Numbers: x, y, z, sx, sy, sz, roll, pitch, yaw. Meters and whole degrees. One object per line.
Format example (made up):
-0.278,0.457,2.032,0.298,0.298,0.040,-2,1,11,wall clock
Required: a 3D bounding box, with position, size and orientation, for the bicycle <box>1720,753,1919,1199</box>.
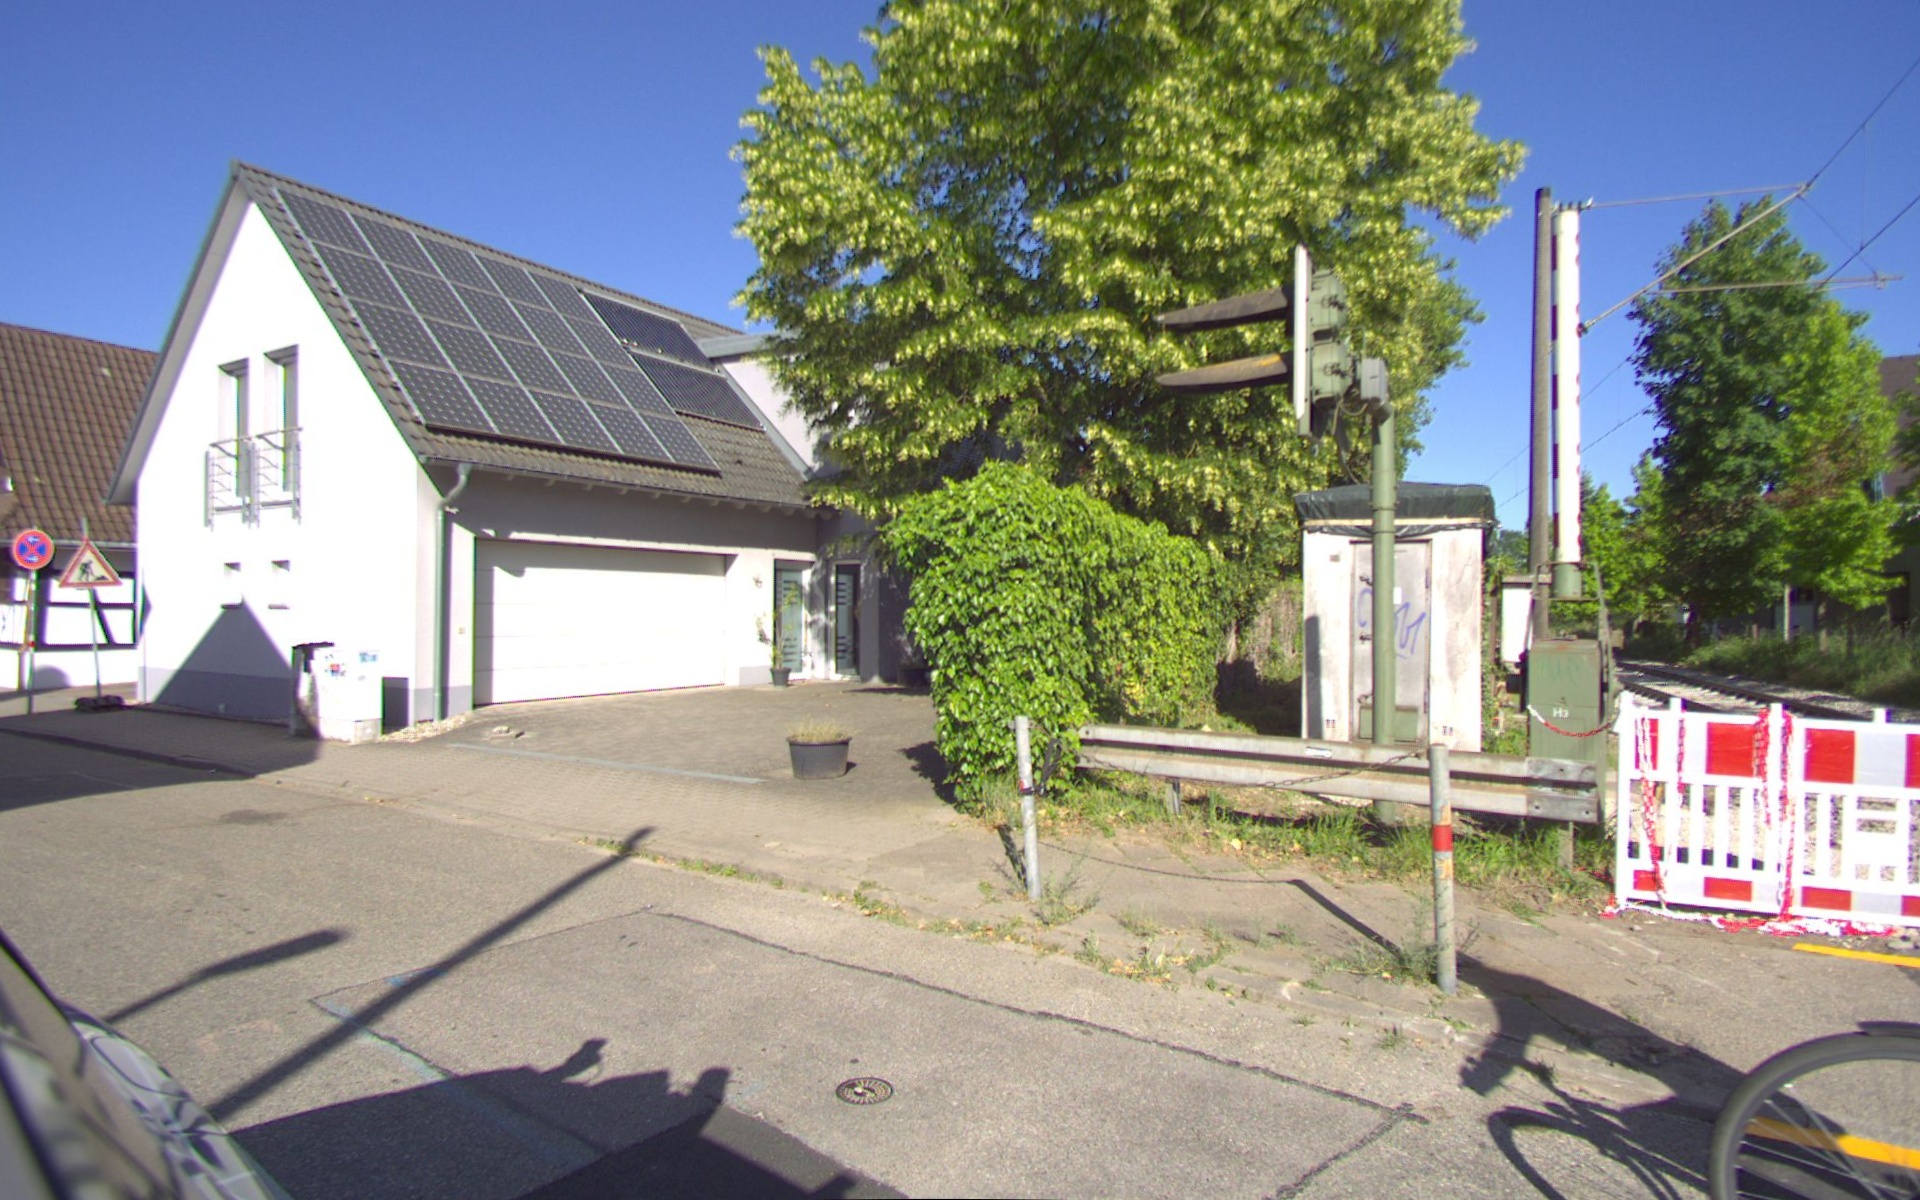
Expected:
2.302,0.875,1.287,2.063,1.013,0.874,1,1,43,bicycle
